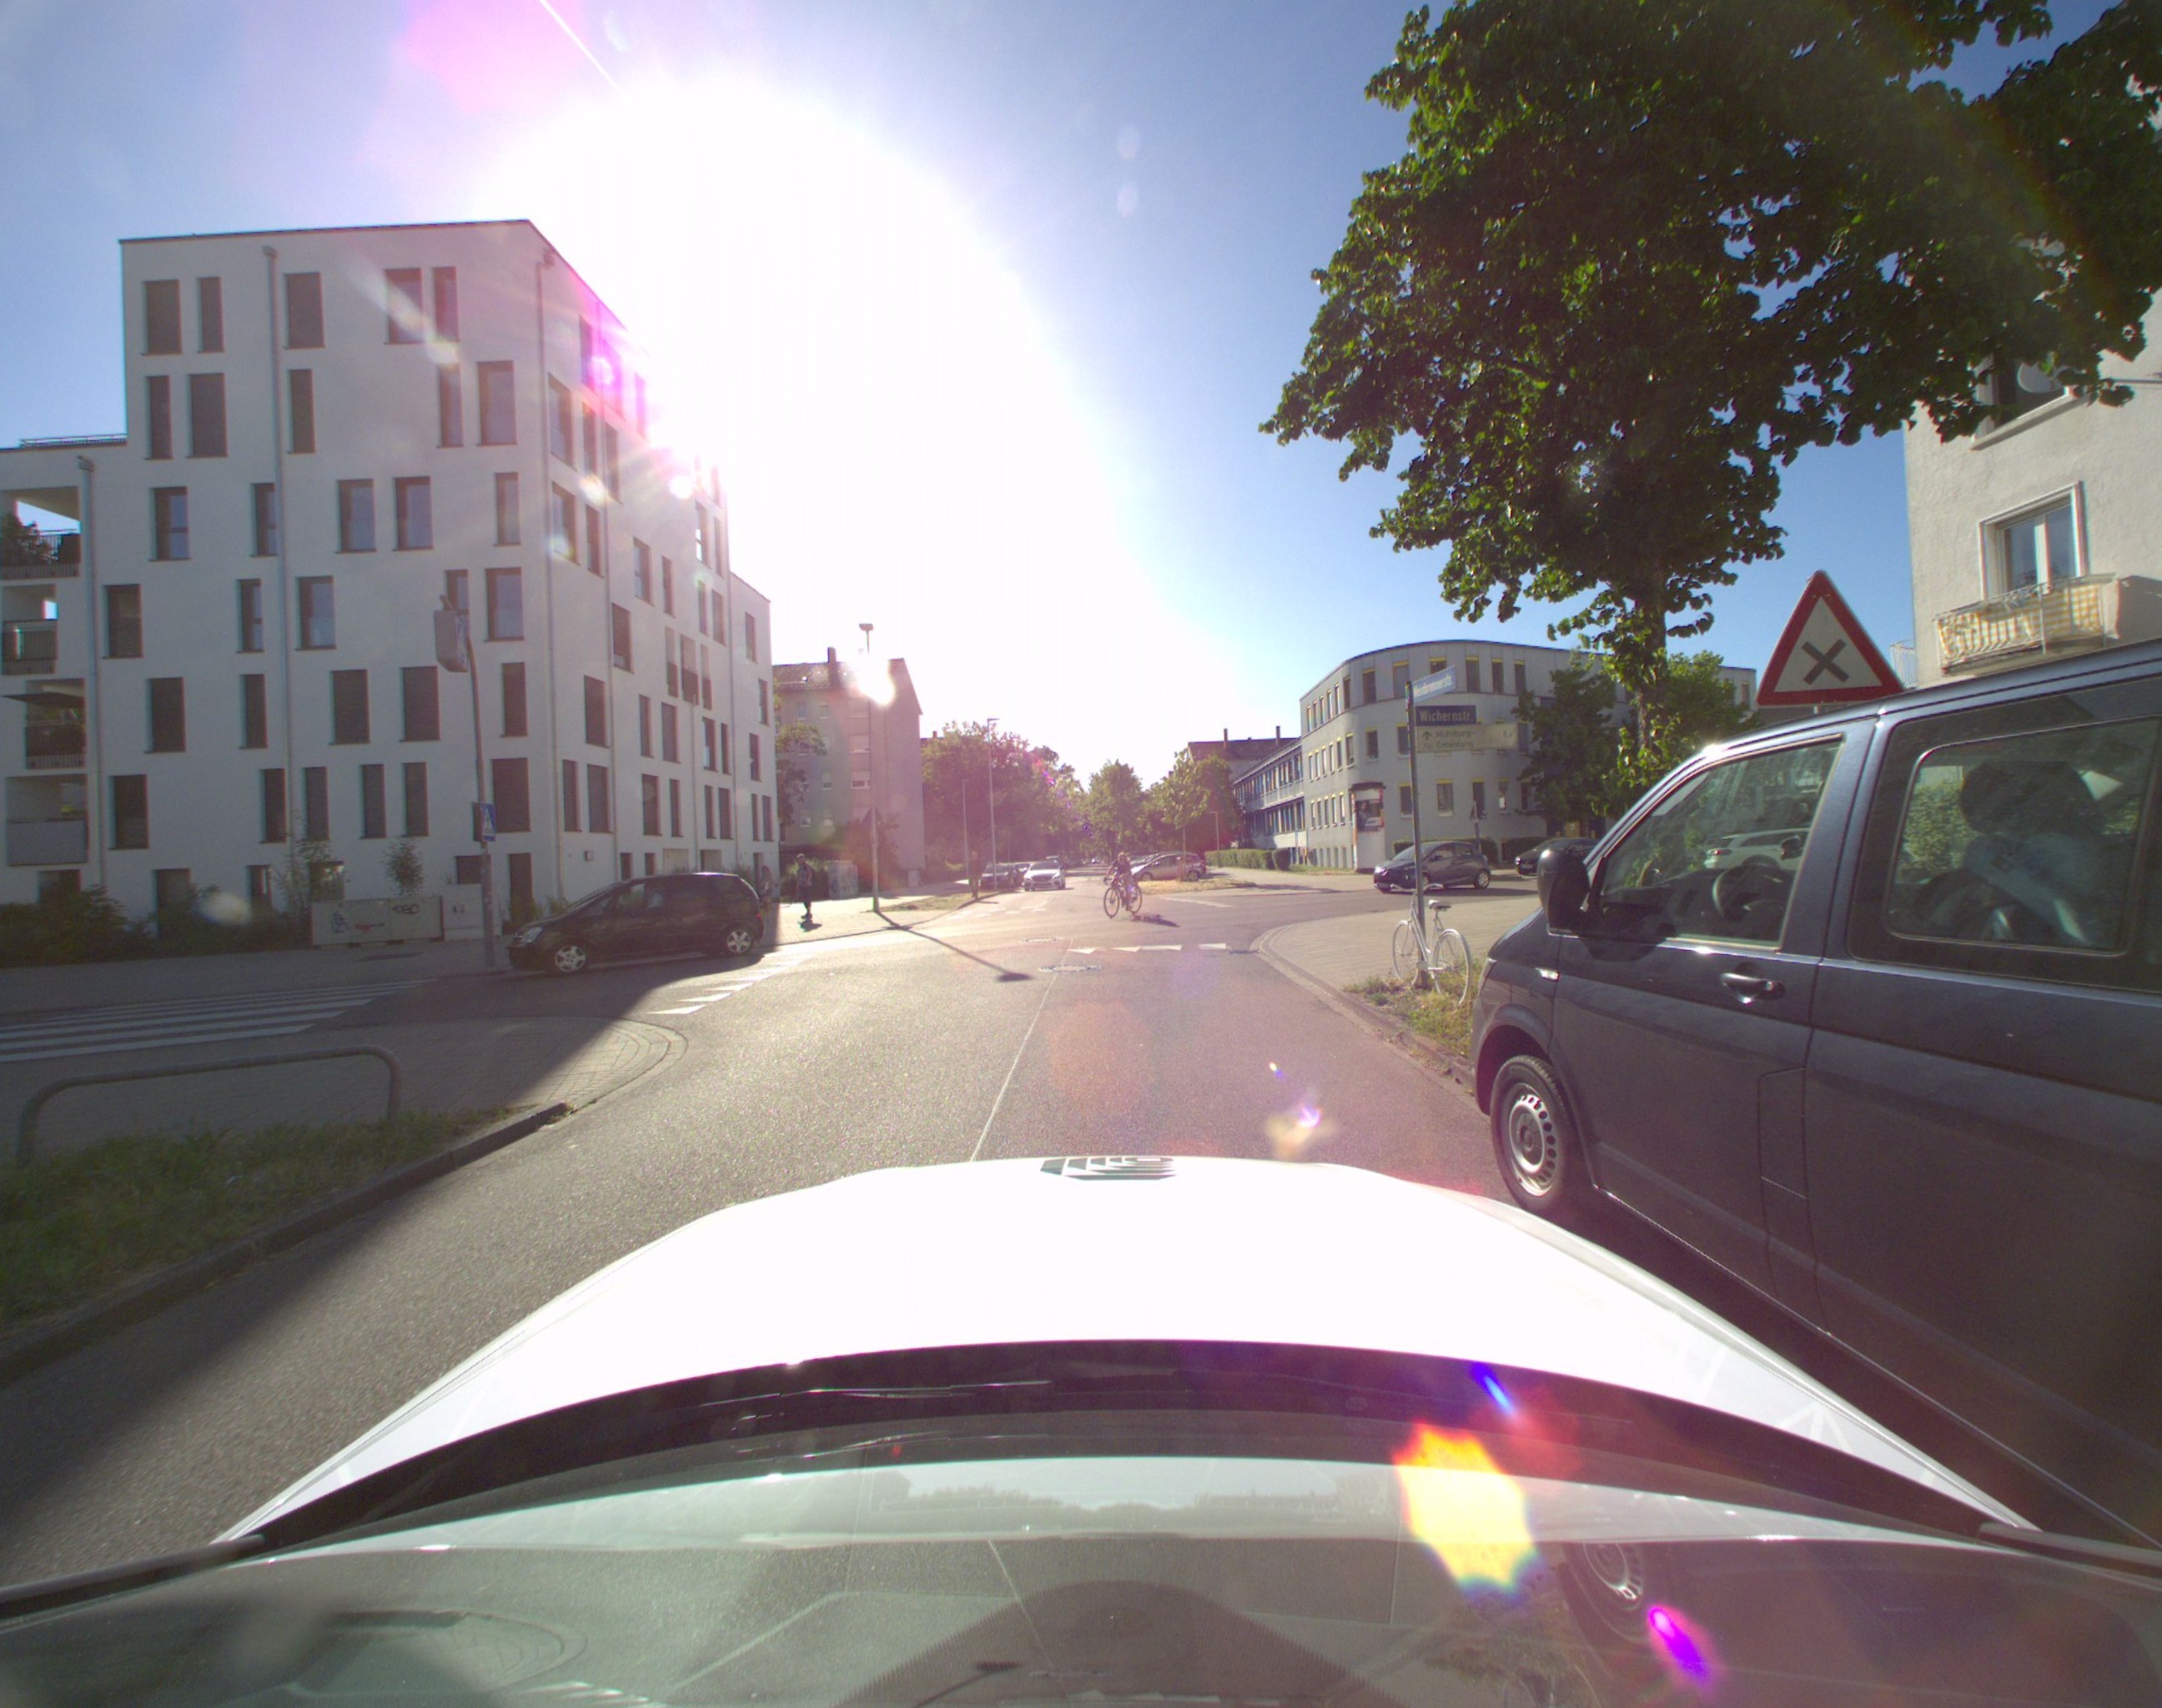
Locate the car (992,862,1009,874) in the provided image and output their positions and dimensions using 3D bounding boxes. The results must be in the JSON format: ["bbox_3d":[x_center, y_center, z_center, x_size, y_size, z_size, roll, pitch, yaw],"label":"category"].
[{"bbox_3d":[-8.284,1.433,84.092,1.268,1.225,2.665,-3,0,3],"label":"car"}]

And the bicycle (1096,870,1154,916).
[{"bbox_3d":[1.094,0.924,19.719,0.543,1.012,1.931,-2,-1,31],"label":"bicycle"}]

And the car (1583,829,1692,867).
[{"bbox_3d":[23.706,-0.261,34.663,4.389,1.479,1.898,-2,0,-26],"label":"car"}]

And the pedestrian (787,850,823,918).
[{"bbox_3d":[-7.867,0.844,23.235,0.843,1.885,0.789,0,-1,-9],"label":"pedestrian"}]

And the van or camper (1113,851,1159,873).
[{"bbox_3d":[4.846,0.710,72.328,3.973,1.772,2.000,-2,-1,1],"label":"van or camper"}]

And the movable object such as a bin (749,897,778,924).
[{"bbox_3d":[-8.777,1.552,22.512,0.269,0.680,0.852,-3,0,13],"label":"movable object such as a bin"}]

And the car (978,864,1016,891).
[{"bbox_3d":[-4.617,1.256,45.236,1.662,1.420,3.999,0,-1,0],"label":"car"}]

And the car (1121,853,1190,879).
[{"bbox_3d":[4.712,0.790,51.763,4.191,1.596,1.999,0,-1,-1],"label":"car"}]

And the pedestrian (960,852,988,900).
[{"bbox_3d":[-4.008,0.823,30.597,0.868,1.714,0.978,-2,-1,-2],"label":"pedestrian"}]

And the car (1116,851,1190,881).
[{"bbox_3d":[4.271,0.718,48.950,4.266,1.765,1.999,0,-1,-1],"label":"car"}]

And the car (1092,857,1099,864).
[{"bbox_3d":[4.211,1.939,237.037,1.986,1.747,4.001,-2,0,1],"label":"car"}]

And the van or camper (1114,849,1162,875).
[{"bbox_3d":[4.833,0.685,69.530,3.973,2.014,2.000,-2,-1,1],"label":"van or camper"}]

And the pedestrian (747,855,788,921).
[{"bbox_3d":[-10.514,1.111,27.326,0.766,2.120,0.964,-2,1,45],"label":"pedestrian"}]

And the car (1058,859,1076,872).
[{"bbox_3d":[-2.121,1.717,123.661,1.981,2.014,4.010,-1,-1,9],"label":"car"}]

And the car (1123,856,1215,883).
[{"bbox_3d":[4.894,0.861,45.739,4.858,1.274,1.727,-3,-1,-3],"label":"car"}]

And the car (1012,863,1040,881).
[{"bbox_3d":[-4.069,1.315,60.572,1.623,1.234,4.194,0,-1,2],"label":"car"}]

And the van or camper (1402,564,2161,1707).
[{"bbox_3d":[2.694,0.485,1.820,1.981,1.863,5.389,0,-1,2],"label":"van or camper"}]

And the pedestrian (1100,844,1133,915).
[{"bbox_3d":[0.860,0.603,19.438,0.686,1.640,1.048,-1,-1,7],"label":"pedestrian"}]

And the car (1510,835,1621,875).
[{"bbox_3d":[19.392,0.026,32.601,4.232,1.410,1.779,-2,0,-26],"label":"car"}]

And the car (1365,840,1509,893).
[{"bbox_3d":[11.209,0.372,25.650,4.143,1.504,1.828,-1,-1,-24],"label":"car"}]

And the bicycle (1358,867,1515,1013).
[{"bbox_3d":[3.305,0.731,7.791,0.526,1.194,2.029,-2,-1,-2],"label":"bicycle"}]

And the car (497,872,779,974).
[{"bbox_3d":[-7.740,1.096,14.461,4.135,1.530,1.722,0,-1,-41],"label":"car"}]

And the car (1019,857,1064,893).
[{"bbox_3d":[-1.884,0.998,40.007,1.879,1.504,4.639,-3,1,1],"label":"car"}]

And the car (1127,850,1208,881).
[{"bbox_3d":[4.612,0.625,43.708,4.077,1.492,1.727,-2,-1,-2],"label":"car"}]
